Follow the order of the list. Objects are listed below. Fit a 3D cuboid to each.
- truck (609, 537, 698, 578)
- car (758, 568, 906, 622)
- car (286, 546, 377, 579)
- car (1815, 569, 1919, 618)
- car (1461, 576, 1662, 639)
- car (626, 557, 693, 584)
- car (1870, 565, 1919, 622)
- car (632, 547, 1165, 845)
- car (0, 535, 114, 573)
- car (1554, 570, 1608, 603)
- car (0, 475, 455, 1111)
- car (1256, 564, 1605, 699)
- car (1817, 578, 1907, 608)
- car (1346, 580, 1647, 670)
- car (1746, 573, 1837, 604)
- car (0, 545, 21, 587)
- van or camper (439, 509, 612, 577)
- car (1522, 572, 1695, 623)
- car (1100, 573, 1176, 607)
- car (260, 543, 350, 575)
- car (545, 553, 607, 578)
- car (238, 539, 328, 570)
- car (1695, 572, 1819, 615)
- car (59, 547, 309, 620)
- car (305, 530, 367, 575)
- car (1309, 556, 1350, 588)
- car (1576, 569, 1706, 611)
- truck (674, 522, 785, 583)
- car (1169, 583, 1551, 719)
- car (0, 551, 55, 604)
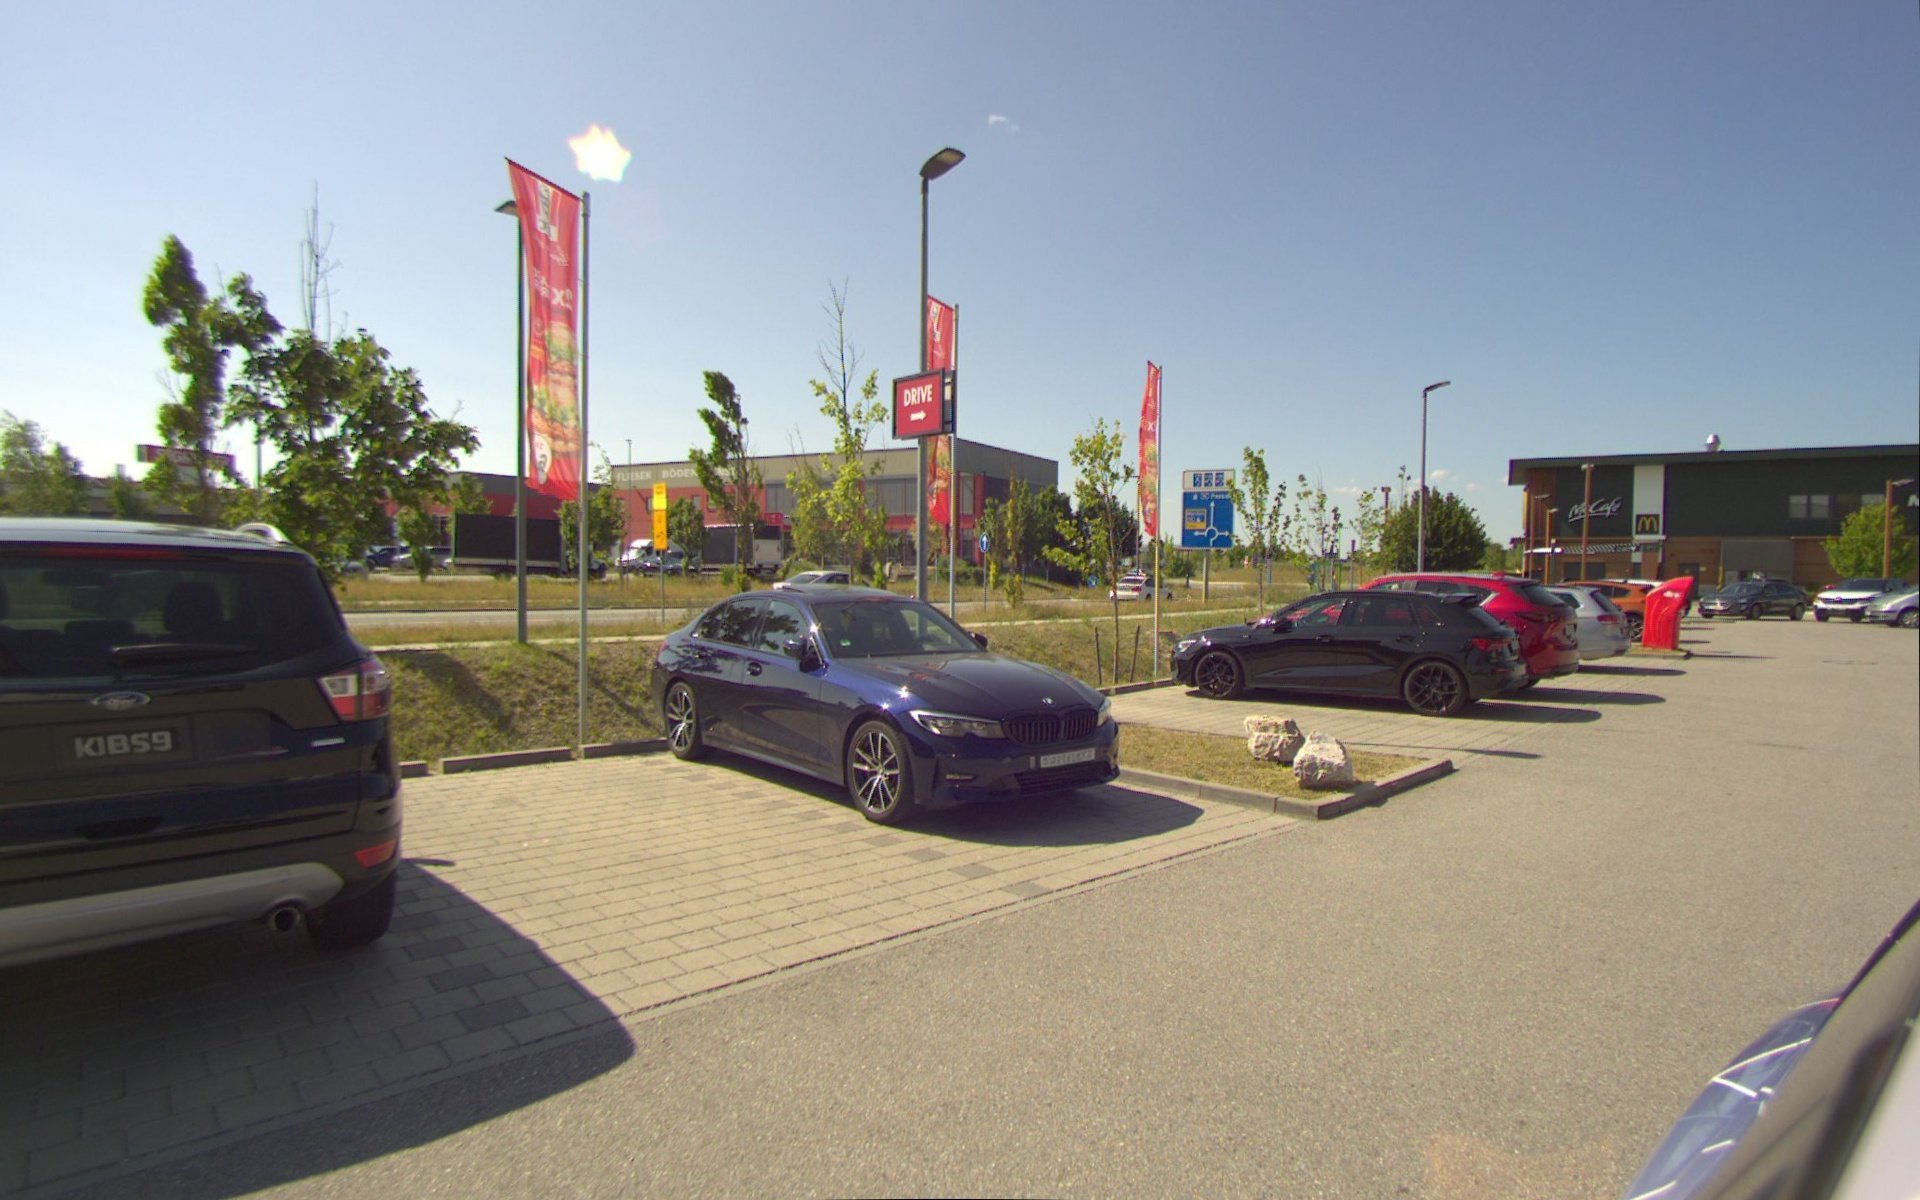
[{"bbox_3d":[-22.775,-3.127,75.588,1.938,2.849,6.988,1,1,28],"label":"truck"},{"bbox_3d":[-3.989,-0.184,32.091,1.990,1.546,4.592,2,1,38],"label":"car"},{"bbox_3d":[-38.224,-2.261,61.671,1.938,1.878,4.361,1,1,28],"label":"car"},{"bbox_3d":[32.913,-0.253,36.504,4.124,1.675,1.977,0,1,-32],"label":"car"},{"bbox_3d":[15.428,0.145,26.041,4.326,1.487,1.810,0,1,36],"label":"car"},{"bbox_3d":[-17.530,-1.716,58.951,3.939,1.478,1.635,2,1,34],"label":"car"},{"bbox_3d":[31.927,-0.186,31.755,4.641,1.770,1.815,1,2,29],"label":"car"},{"bbox_3d":[-0.757,0.488,7.929,1.863,1.658,4.443,-1,1,-41],"label":"car"},{"bbox_3d":[-48.468,-2.426,54.260,1.938,1.878,4.361,1,1,28],"label":"car"},{"bbox_3d":[34.752,-0.787,56.768,1.976,1.712,4.202,2,2,24],"label":"car"},{"bbox_3d":[-3.872,0.491,4.507,1.863,1.724,4.325,-1,1,-41],"label":"car"},{"bbox_3d":[6.649,0.341,14.564,4.214,1.658,1.922,1,1,42],"label":"car"},{"bbox_3d":[47.705,-0.372,53.513,4.375,1.484,1.966,0,1,-25],"label":"car"},{"bbox_3d":[9.561,0.357,18.263,4.580,1.430,1.716,1,1,40],"label":"car"},{"bbox_3d":[45.849,-0.635,55.806,4.374,1.622,1.967,0,1,-22],"label":"car"},{"bbox_3d":[-45.006,-1.546,45.050,1.938,1.878,4.361,1,1,28],"label":"car"},{"bbox_3d":[-22.005,-2.796,51.352,7.891,3.140,2.423,0,1,-28],"label":"van or camper"},{"bbox_3d":[20.256,-0.095,31.699,4.454,1.487,1.810,0,1,36],"label":"car"},{"bbox_3d":[8.744,-0.505,49.373,1.986,1.546,4.601,2,1,33],"label":"car"},{"bbox_3d":[-40.806,-2.514,63.111,1.938,1.878,4.361,1,1,28],"label":"car"},{"bbox_3d":[-29.769,-2.670,78.596,1.938,1.878,4.361,1,1,28],"label":"car"},{"bbox_3d":[-42.905,-2.866,64.229,1.938,1.878,4.361,1,1,28],"label":"car"},{"bbox_3d":[30.045,-0.260,38.148,4.119,1.545,1.979,0,1,-24],"label":"car"},{"bbox_3d":[-19.153,-0.411,25.145,1.994,1.645,4.729,2,2,44],"label":"car"},{"bbox_3d":[-27.581,-2.070,44.677,1.920,1.878,4.403,0,1,-37],"label":"car"},{"bbox_3d":[26.799,-2.001,73.327,1.983,2.224,5.053,1,1,29],"label":"car"},{"bbox_3d":[26.818,-0.390,39.864,4.241,1.545,1.980,0,2,-17],"label":"car"},{"bbox_3d":[-14.066,-2.844,61.589,6.787,3.524,2.734,2,1,35],"label":"truck"},{"bbox_3d":[4.928,0.511,12.789,4.186,1.428,1.749,1,1,39],"label":"car"},{"bbox_3d":[-35.135,-0.850,37.565,1.963,1.878,4.284,0,1,-37],"label":"car"}]
